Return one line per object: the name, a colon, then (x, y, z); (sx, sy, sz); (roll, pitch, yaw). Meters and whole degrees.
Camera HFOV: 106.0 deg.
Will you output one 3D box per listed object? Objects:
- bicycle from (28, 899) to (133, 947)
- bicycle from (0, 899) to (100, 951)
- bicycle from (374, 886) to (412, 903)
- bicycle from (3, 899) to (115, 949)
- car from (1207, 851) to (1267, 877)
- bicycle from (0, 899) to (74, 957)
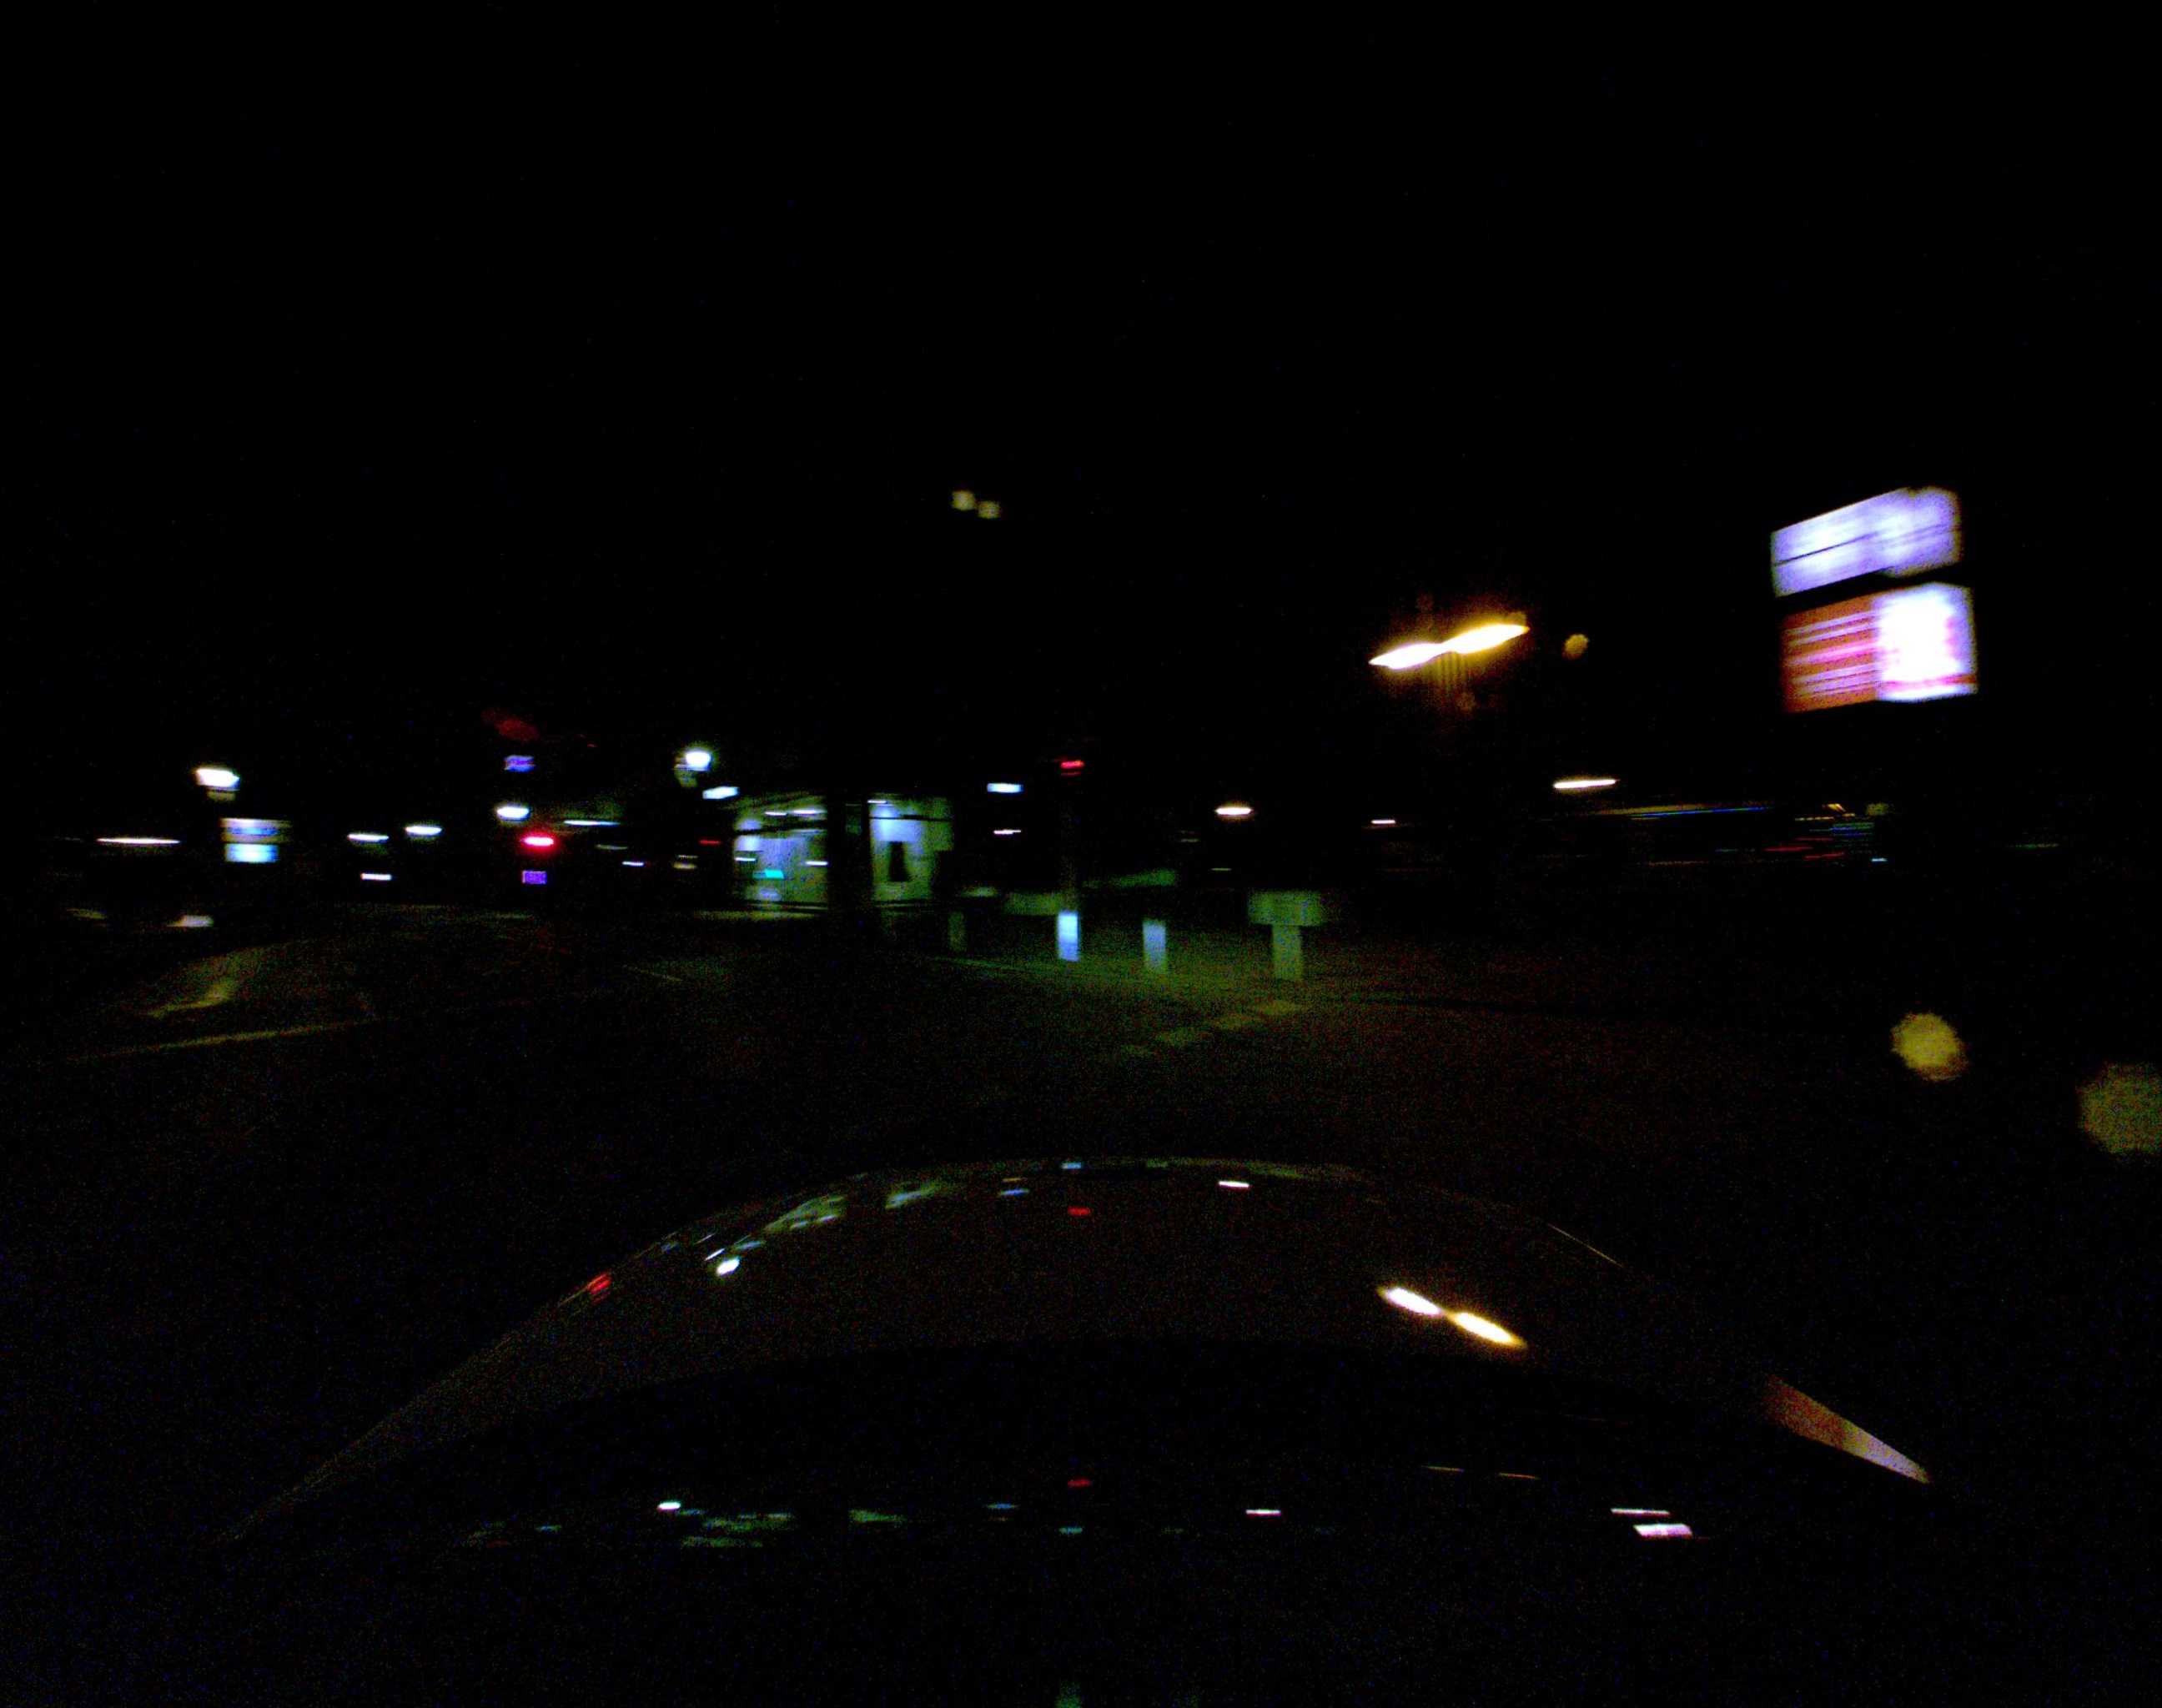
bicycle: (-25.668, 1.750, 20.926); (1.630, 1.105, 0.662); (-1, -2, -44)
bicycle: (-24.505, 1.673, 19.227); (1.630, 1.105, 0.662); (-1, -2, -44)
bicycle: (-45.292, 2.649, 53.627); (0.648, 1.062, 1.764); (-1, 0, 22)
bicycle: (-24.893, 1.687, 19.885); (1.630, 1.105, 0.662); (-1, -2, -44)
car: (9.811, 0.624, 51.031); (1.899, 1.451, 4.025); (-1, 1, 41)
bicycle: (-23.250, 1.619, 17.602); (1.785, 1.164, 0.662); (-2, -1, -44)
